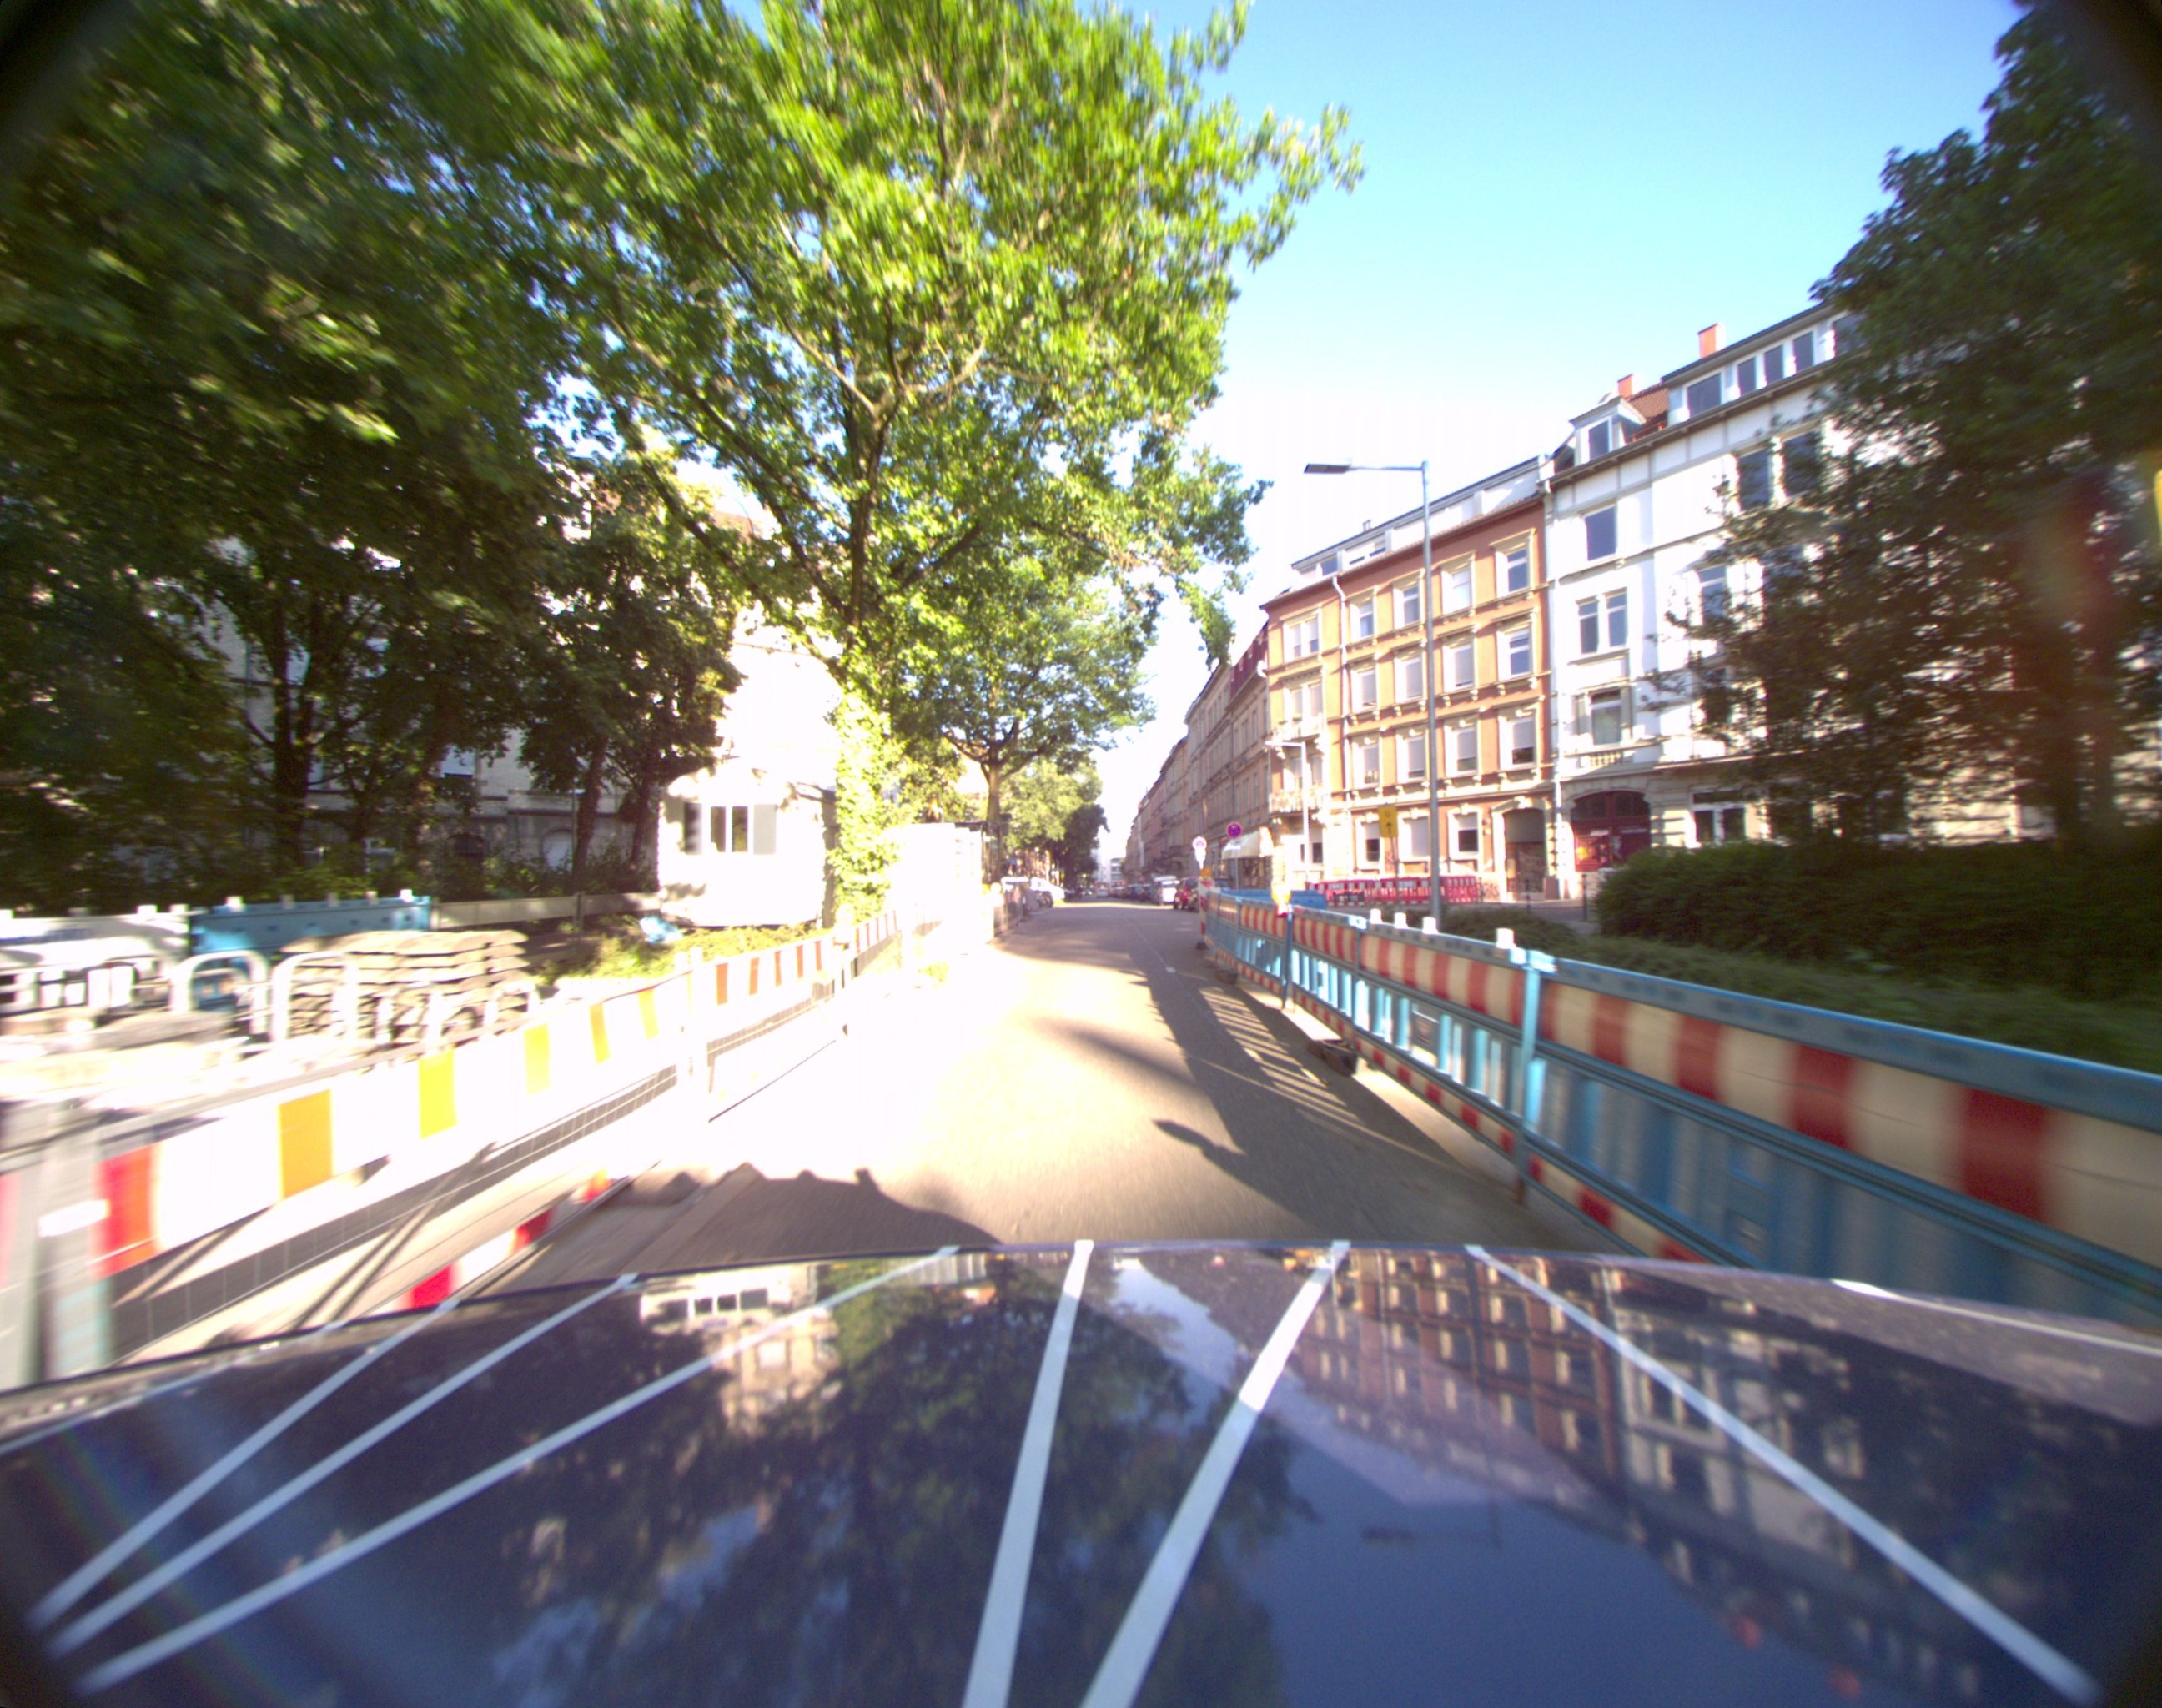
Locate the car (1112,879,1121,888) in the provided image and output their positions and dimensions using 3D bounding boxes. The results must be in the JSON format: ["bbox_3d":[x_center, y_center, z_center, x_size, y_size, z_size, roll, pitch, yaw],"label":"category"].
[{"bbox_3d":[7.097,5.894,152.281,1.703,1.740,4.194,1,0,1],"label":"car"}]

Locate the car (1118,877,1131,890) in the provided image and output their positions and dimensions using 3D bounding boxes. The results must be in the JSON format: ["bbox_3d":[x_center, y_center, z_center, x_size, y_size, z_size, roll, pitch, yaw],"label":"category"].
[{"bbox_3d":[6.190,4.138,107.585,1.703,1.740,4.194,1,0,1],"label":"car"}]

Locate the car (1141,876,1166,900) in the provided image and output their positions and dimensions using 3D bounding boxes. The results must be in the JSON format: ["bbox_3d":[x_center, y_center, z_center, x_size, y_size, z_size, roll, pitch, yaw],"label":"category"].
[{"bbox_3d":[5.876,2.742,61.982,1.703,1.740,4.194,1,0,1],"label":"car"}]

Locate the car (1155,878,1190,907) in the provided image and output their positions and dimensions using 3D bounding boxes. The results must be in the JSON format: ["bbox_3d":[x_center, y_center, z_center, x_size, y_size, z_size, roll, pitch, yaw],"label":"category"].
[{"bbox_3d":[5.552,2.303,46.629,1.703,1.560,4.194,1,0,1],"label":"car"}]

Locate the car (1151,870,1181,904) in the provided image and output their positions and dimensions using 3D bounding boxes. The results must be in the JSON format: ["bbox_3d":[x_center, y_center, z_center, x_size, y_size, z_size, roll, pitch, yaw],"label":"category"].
[{"bbox_3d":[5.766,2.219,51.939,1.703,2.103,4.194,1,0,1],"label":"car"}]

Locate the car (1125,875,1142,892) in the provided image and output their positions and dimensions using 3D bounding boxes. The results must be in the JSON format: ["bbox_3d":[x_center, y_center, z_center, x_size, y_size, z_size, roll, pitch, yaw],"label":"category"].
[{"bbox_3d":[6.021,3.353,87.576,1.703,1.740,4.194,1,0,1],"label":"car"}]

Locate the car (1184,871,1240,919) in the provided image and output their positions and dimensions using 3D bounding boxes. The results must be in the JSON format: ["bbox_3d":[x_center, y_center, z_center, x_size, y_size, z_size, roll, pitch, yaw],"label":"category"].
[{"bbox_3d":[5.452,1.670,32.051,1.703,1.794,4.194,1,0,1],"label":"car"}]

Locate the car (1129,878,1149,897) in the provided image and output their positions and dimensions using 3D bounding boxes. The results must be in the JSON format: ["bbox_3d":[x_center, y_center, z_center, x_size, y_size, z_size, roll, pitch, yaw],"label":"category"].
[{"bbox_3d":[5.809,3.315,76.337,1.703,1.740,4.194,1,0,1],"label":"car"}]

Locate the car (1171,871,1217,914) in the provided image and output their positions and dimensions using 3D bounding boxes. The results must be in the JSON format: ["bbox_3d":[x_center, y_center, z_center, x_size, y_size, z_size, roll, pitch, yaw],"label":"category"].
[{"bbox_3d":[5.408,1.817,36.807,1.703,1.829,4.194,1,0,1],"label":"car"}]
